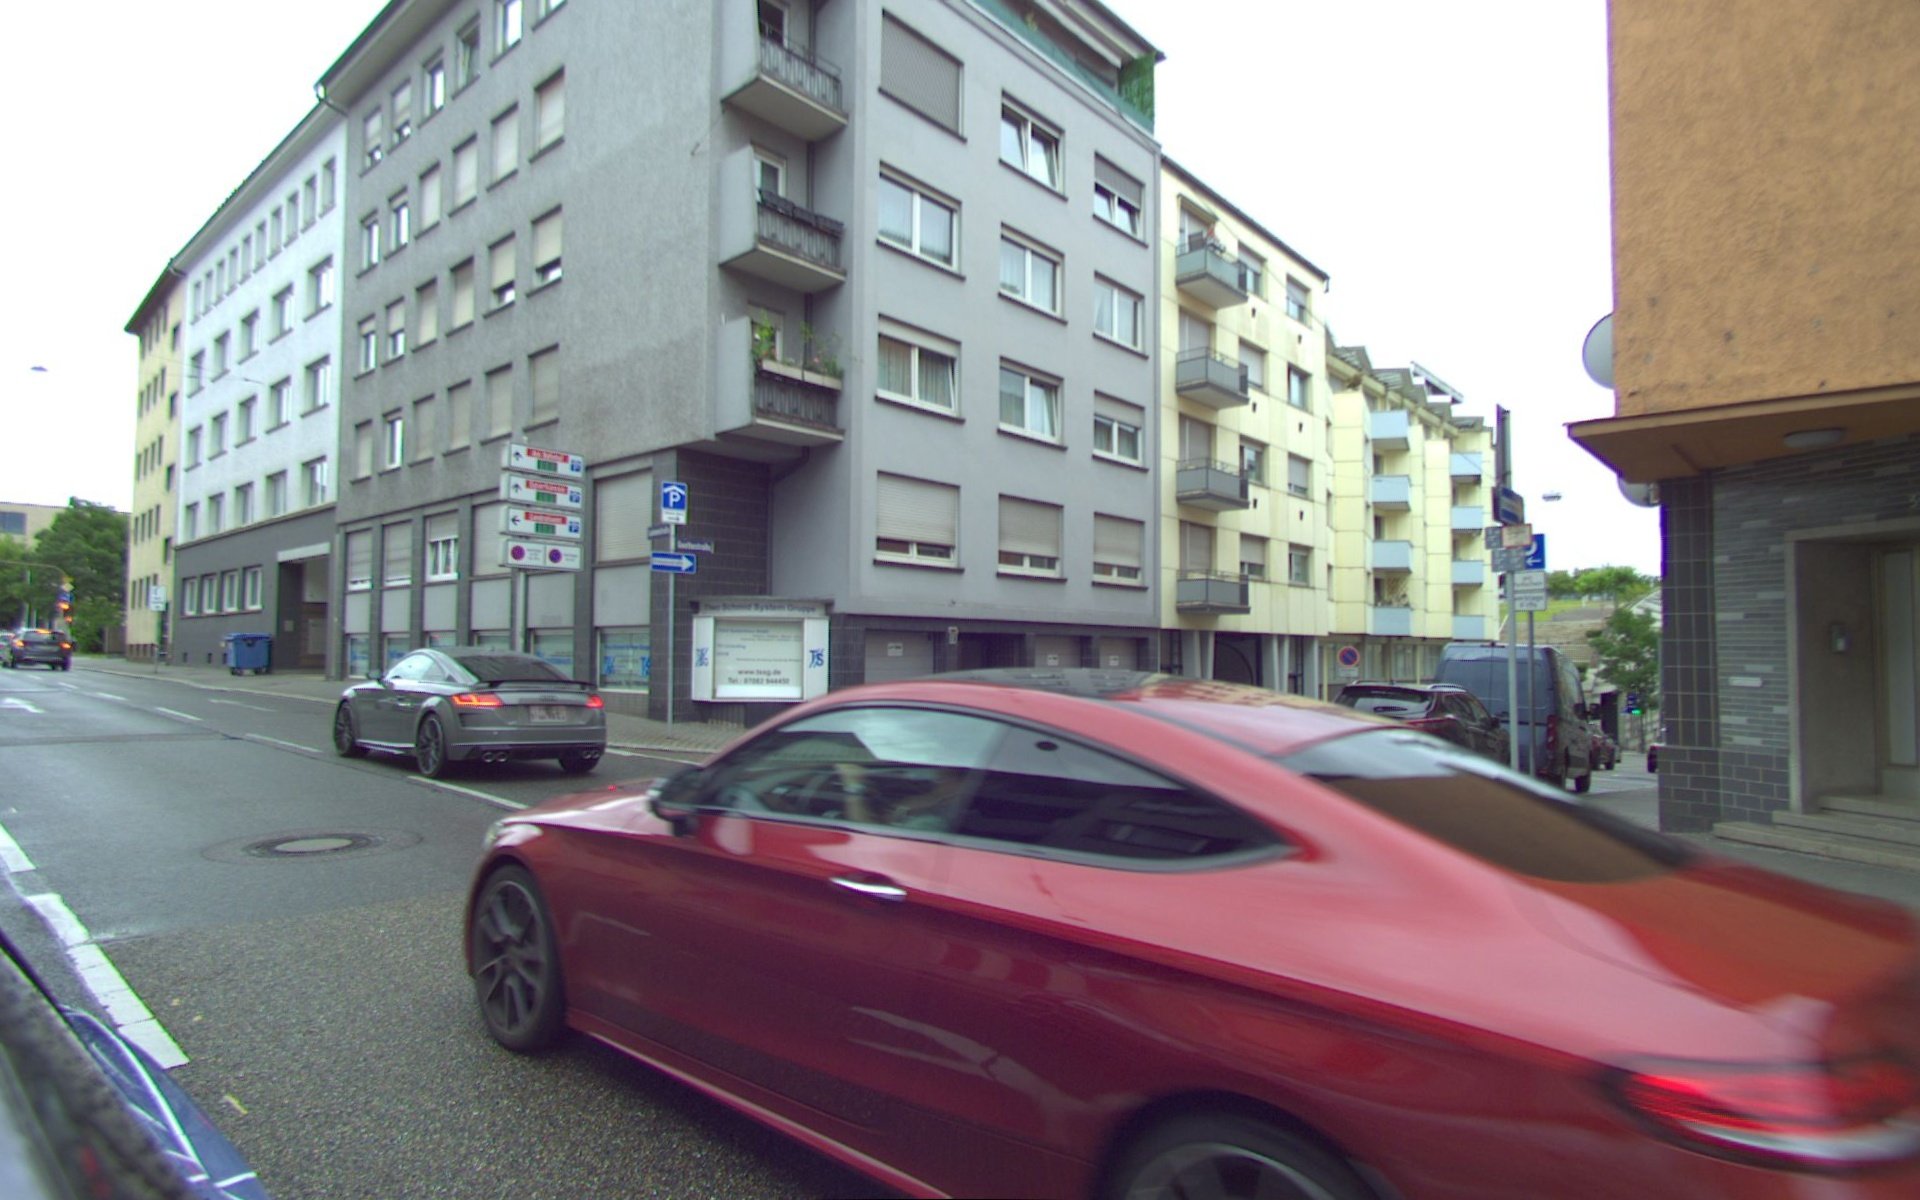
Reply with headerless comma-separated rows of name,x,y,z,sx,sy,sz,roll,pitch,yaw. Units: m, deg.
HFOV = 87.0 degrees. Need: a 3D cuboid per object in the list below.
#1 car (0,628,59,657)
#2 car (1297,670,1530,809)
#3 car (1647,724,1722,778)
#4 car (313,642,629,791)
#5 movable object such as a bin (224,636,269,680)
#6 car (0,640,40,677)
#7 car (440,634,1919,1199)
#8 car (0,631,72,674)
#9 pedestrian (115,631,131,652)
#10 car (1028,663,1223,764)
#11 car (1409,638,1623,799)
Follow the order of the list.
car,-54.558,2.452,58.116,3.932,1.505,1.777,-1,0,-32
car,6.449,1.946,14.126,1.842,1.589,4.098,-1,-8,41
car,25.980,5.407,36.259,1.817,1.688,3.998,-1,-8,41
car,-5.637,1.231,11.495,3.886,1.356,1.749,-1,-6,41
movable object such as a bin,-22.855,1.846,32.414,1.096,1.343,0.933,-1,0,41
car,-43.984,2.659,46.596,4.371,1.602,1.858,-1,-3,41
car,0.270,0.843,3.004,4.337,1.401,1.706,-1,-4,41
car,-35.796,2.007,39.040,4.157,1.519,1.685,-1,-5,41
pedestrian,-46.255,2.305,55.928,0.407,1.158,0.575,-2,-6,42
car,3.352,2.274,19.902,1.794,1.700,4.186,-1,-8,41
car,10.457,2.202,18.747,2.249,2.481,5.975,-1,-7,41
